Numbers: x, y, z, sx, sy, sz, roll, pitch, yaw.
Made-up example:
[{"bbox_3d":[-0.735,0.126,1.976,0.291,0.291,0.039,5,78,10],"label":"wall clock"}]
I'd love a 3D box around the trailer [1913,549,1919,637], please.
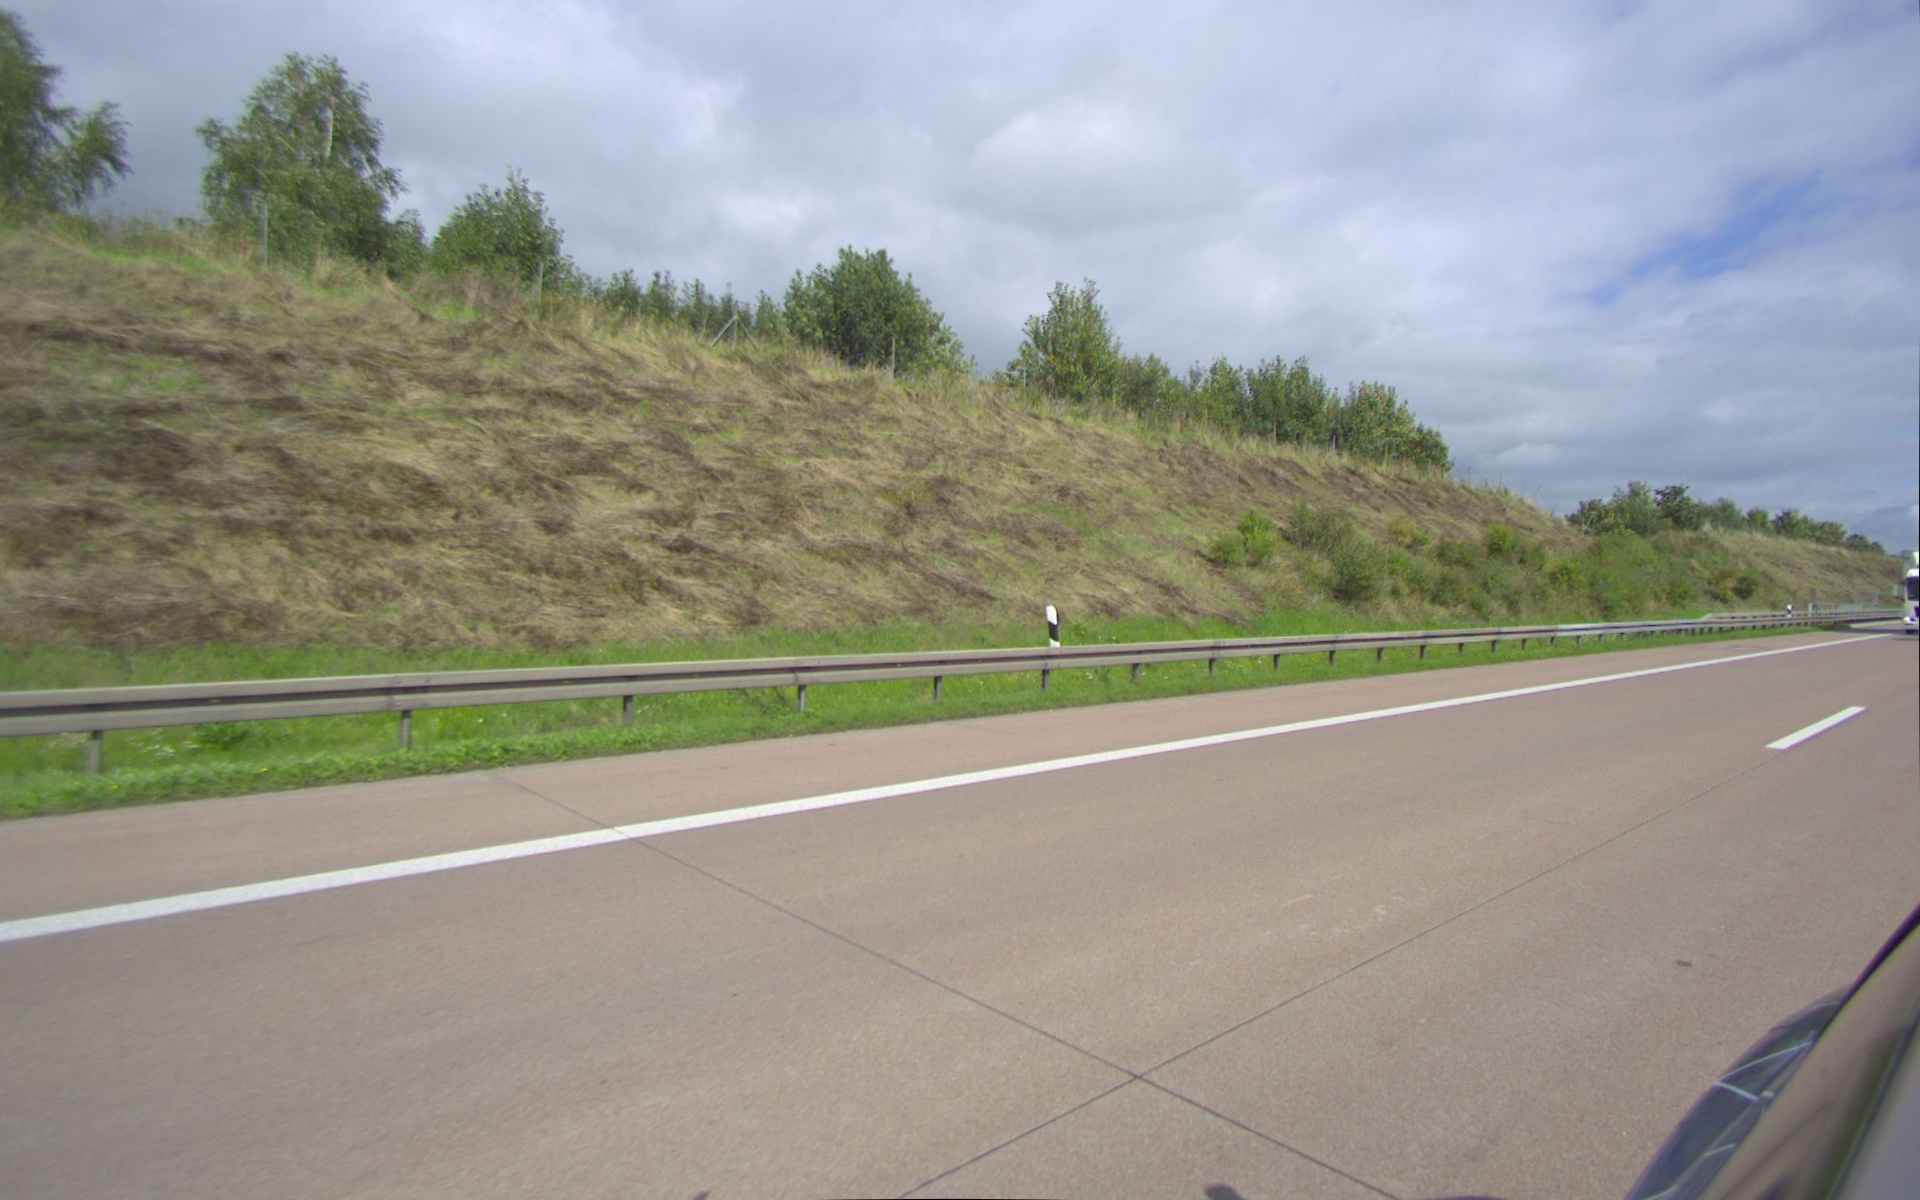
[{"bbox_3d":[48.463,-0.387,49.048,8.525,4.062,2.750,-1,1,-43],"label":"trailer"}]

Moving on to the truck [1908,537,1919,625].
[{"bbox_3d":[45.144,-0.862,45.944,4.469,3.941,2.752,0,0,-43],"label":"truck"}]
